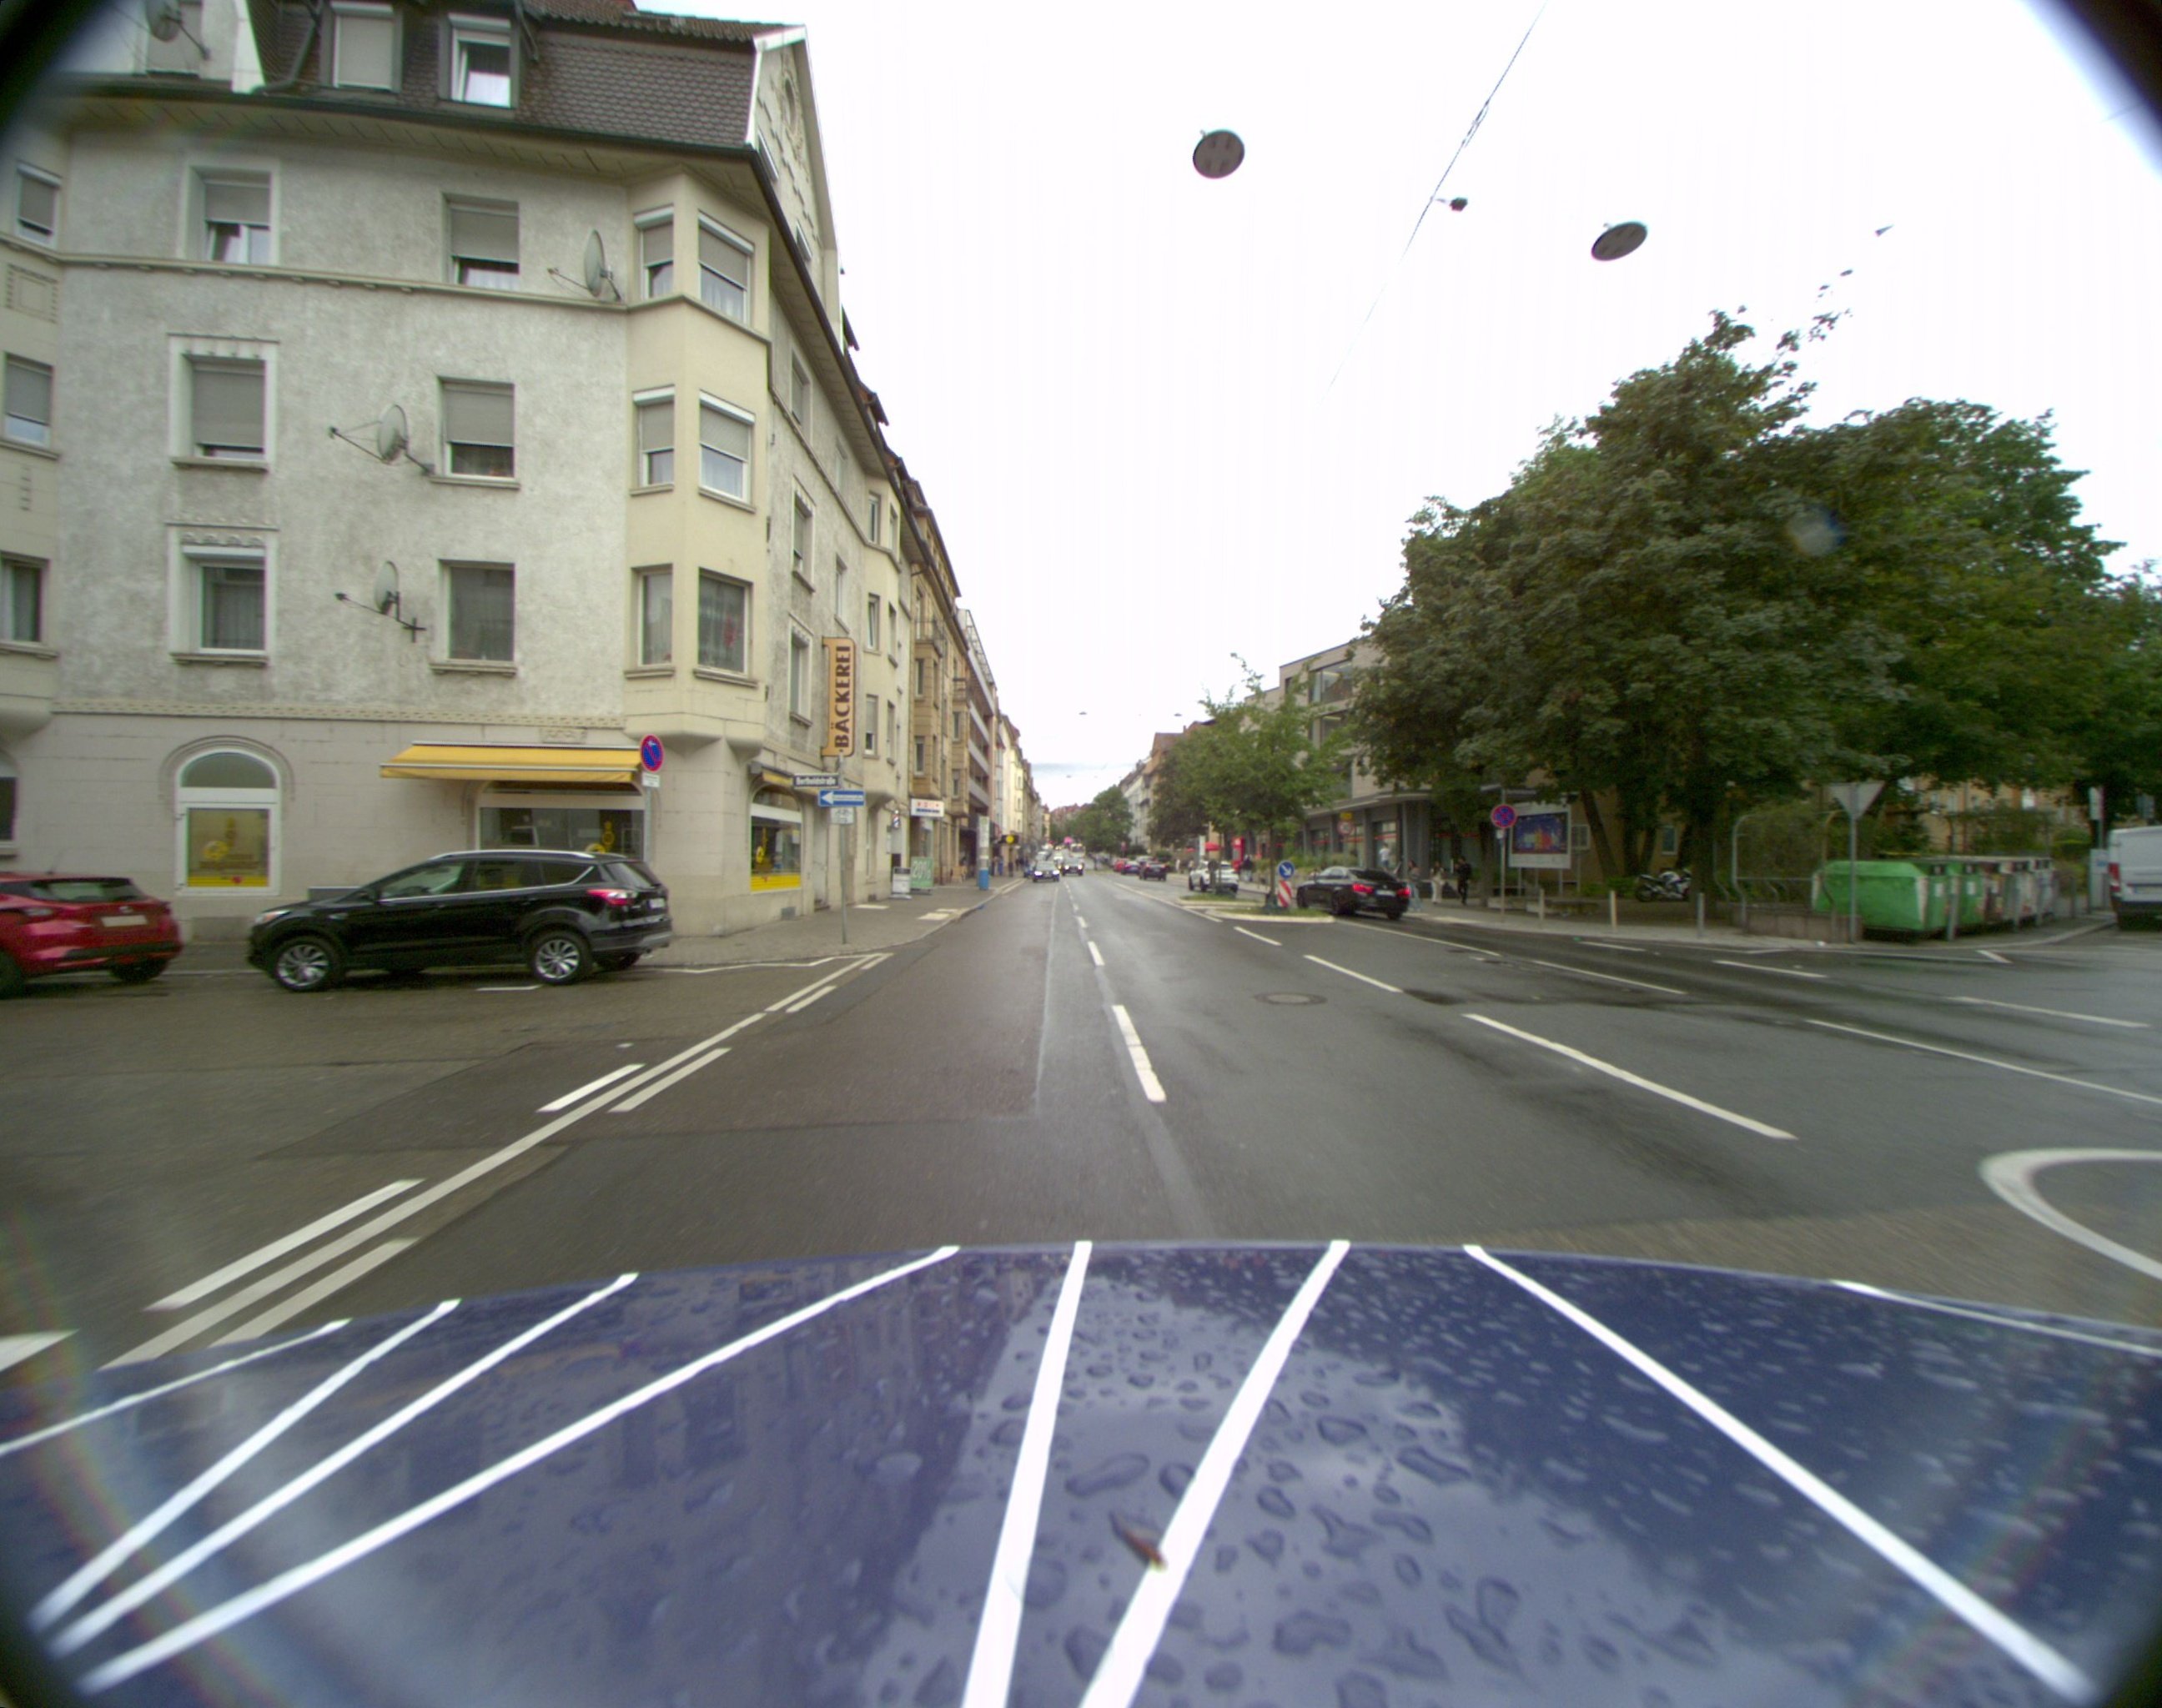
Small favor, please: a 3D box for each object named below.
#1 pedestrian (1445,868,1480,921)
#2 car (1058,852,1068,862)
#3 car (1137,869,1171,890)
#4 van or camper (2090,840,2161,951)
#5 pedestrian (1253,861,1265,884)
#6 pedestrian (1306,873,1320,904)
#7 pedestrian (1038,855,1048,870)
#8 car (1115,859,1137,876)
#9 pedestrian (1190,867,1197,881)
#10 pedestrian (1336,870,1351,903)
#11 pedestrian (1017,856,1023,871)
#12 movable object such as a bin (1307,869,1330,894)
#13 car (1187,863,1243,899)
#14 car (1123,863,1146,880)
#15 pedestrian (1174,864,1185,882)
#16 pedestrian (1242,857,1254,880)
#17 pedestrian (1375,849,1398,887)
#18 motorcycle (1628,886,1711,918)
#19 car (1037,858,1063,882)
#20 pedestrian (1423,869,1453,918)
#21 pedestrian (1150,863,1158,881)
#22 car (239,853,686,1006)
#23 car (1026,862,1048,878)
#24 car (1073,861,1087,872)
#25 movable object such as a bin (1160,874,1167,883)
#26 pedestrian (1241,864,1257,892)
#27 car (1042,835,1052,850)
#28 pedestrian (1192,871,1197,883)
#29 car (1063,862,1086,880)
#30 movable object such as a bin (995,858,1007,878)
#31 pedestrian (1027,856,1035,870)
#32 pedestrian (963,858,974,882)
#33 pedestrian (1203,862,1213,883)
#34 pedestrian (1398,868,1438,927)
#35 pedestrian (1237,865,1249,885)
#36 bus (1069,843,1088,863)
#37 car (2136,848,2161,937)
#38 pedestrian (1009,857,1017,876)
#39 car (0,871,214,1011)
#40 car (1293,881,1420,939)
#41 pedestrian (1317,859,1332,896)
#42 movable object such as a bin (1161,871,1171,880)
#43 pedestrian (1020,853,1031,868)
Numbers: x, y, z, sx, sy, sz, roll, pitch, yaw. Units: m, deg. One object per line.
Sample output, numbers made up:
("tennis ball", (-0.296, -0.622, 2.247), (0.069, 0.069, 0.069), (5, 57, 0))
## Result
("pedestrian", (13.445, 1.399, 26.794), (0.863, 1.834, 0.693), (0, 0, -16))
("car", (-3.358, 0.550, 142.550), (1.796, 1.768, 3.902), (0, 0, -3))
("car", (5.707, 1.968, 59.805), (1.960, 1.547, 4.242), (2, -1, -4))
("van or camper", (24.471, 0.826, 16.731), (4.625, 2.253, 2.206), (-2, 0, -31))
("pedestrian", (13.027, 1.361, 55.541), (0.711, 1.668, 0.801), (0, 0, 26))
("pedestrian", (10.623, 1.556, 34.785), (0.434, 1.402, 0.481), (0, 0, -5))
("pedestrian", (-4.234, 0.938, 85.361), (0.701, 1.637, 0.785), (3, 0, 32))
("car", (5.318, 1.619, 91.037), (2.112, 1.754, 5.057), (2, 1, -2))
("pedestrian", (10.108, 1.824, 68.264), (0.469, 1.269, 0.549), (0, 0, -2))
("pedestrian", (11.981, 1.487, 34.646), (0.461, 1.465, 0.530), (0, 0, -5))
("pedestrian", (-7.400, 1.170, 92.817), (0.611, 1.738, 0.698), (2, 0, -2))
("movable object such as a bin", (11.029, 1.289, 35.351), (0.705, 1.128, 0.965), (-1, 0, -5))
("car", (6.671, 1.323, 38.271), (1.825, 1.559, 4.088), (4, -1, -3))
("car", (5.420, 1.769, 77.177), (1.960, 1.503, 4.912), (2, 0, 0))
("pedestrian", (9.934, 1.909, 76.447), (0.793, 1.698, 0.761), (-2, 0, -27))
("pedestrian", (12.451, 1.086, 56.797), (0.715, 1.668, 0.713), (0, 0, -2))
("pedestrian", (15.018, 0.677, 37.340), (0.724, 1.815, 0.720), (0, -1, -30))
("motorcycle", (19.755, 1.606, 25.553), (2.055, 0.982, 0.797), (-2, -1, 13))
("car", (-2.159, 1.087, 54.062), (1.734, 1.538, 3.980), (1, 1, -1))
("pedestrian", (12.974, 1.423, 27.589), (0.658, 1.748, 0.719), (0, 0, -25))
("pedestrian", (8.126, 1.963, 84.682), (0.703, 2.002, 0.782), (0, 1, -6))
("car", (-7.737, 0.882, 9.962), (4.152, 1.761, 1.872), (0, -1, -9))
("car", (-3.971, 1.408, 68.586), (1.739, 1.302, 3.767), (-2, 0, 0))
("car", (-0.152, 1.863, 112.863), (1.900, 1.564, 4.124), (2, 0, -2))
("movable object such as a bin", (9.589, 2.822, 88.346), (0.742, 1.052, 0.579), (0, 1, 2))
("pedestrian", (10.926, 1.554, 49.468), (0.724, 1.815, 0.721), (0, -1, -21))
("car", (-8.485, -2.924, 188.790), (2.555, 3.612, 9.047), (0, 0, -3))
("pedestrian", (10.127, 2.056, 67.764), (0.393, 1.110, 0.386), (0, 0, -2))
("car", (-0.646, 1.551, 70.123), (1.856, 1.646, 4.204), (0, -1, -4))
("movable object such as a bin", (-7.361, 1.277, 69.925), (1.002, 1.783, 1.295), (1, 1, -4))
("pedestrian", (-6.119, 1.062, 93.089), (0.791, 1.656, 0.699), (2, 0, 13))
("pedestrian", (-7.249, 1.015, 48.896), (0.563, 1.563, 0.626), (0, 0, -18))
("pedestrian", (10.954, 1.593, 65.416), (0.591, 1.808, 0.870), (0, 0, -11))
("pedestrian", (10.576, 1.339, 23.853), (0.724, 1.815, 0.853), (0, -1, -25))
("pedestrian", (11.512, 1.492, 54.042), (0.590, 1.412, 0.726), (0, 0, 33))
("bus", (-0.548, -0.251, 140.376), (2.813, 3.227, 11.957), (5, 0, -3))
("car", (29.257, 1.012, 19.578), (4.007, 2.242, 1.995), (1, 0, -30))
("pedestrian", (-5.938, 1.099, 66.430), (0.627, 1.642, 0.748), (1, -1, -2))
("car", (-13.385, 0.971, 9.087), (3.696, 1.482, 1.779), (1, 0, -8))
("car", (8.051, 1.597, 22.698), (2.019, 1.417, 4.499), (0, 0, -2))
("pedestrian", (11.142, 1.055, 34.748), (0.499, 1.663, 0.552), (0, 0, -5))
("movable object such as a bin", (9.799, 2.444, 87.435), (0.743, 1.052, 0.811), (0, 1, -27))
("pedestrian", (-6.709, 0.794, 92.068), (0.856, 1.738, 1.061), (2, 0, -36))
